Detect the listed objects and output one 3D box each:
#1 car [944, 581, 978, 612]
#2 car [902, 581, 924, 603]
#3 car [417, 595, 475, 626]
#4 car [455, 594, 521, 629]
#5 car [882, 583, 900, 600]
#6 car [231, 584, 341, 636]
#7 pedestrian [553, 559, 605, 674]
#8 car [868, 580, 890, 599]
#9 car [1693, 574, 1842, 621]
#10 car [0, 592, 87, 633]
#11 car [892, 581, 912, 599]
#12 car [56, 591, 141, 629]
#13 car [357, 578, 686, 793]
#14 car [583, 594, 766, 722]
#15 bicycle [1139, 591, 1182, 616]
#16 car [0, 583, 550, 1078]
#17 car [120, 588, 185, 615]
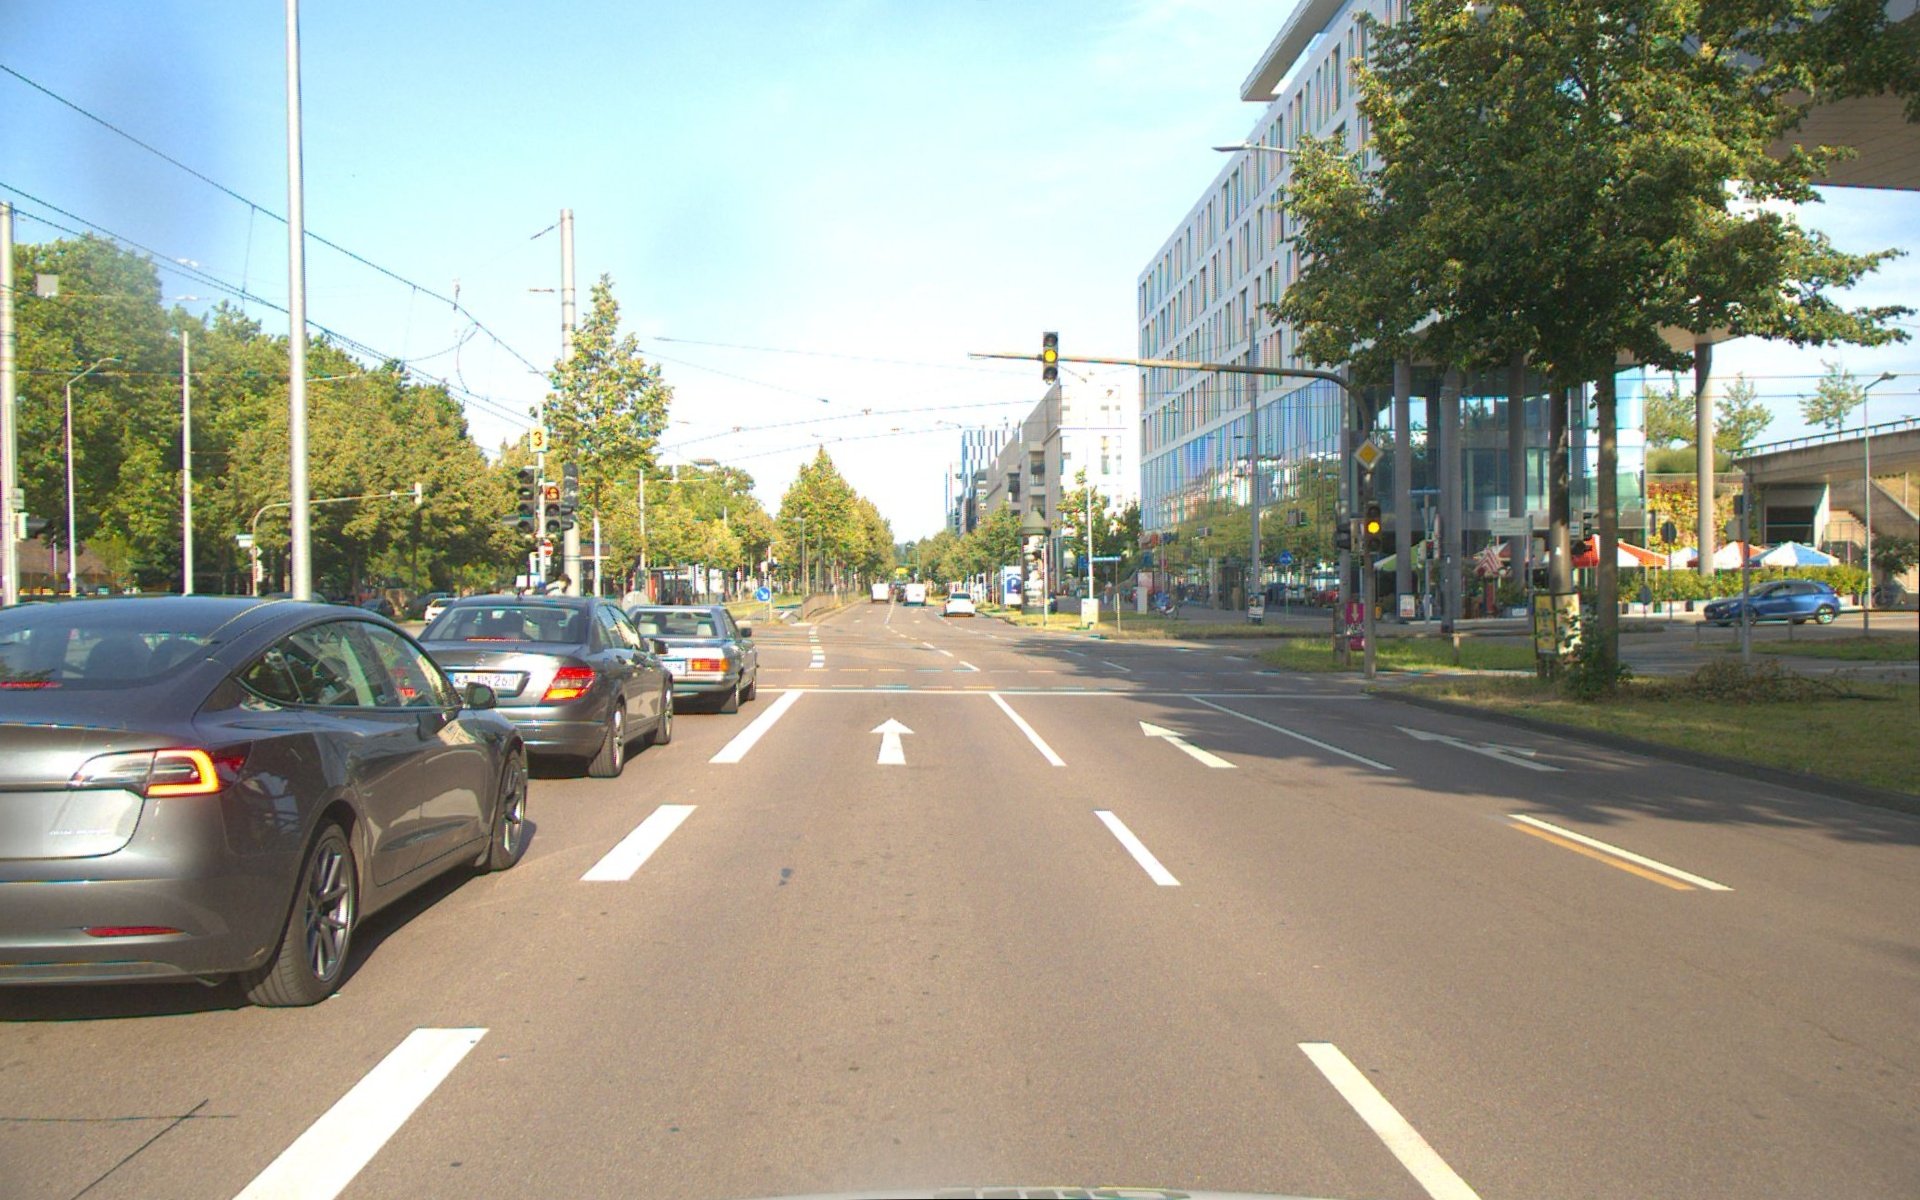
[{"bbox_3d":[0.031,-0.232,96.071,1.826,1.713,3.999,1,1,-2],"label":"car"},{"bbox_3d":[-3.983,-0.689,140.275,1.826,1.713,3.999,1,1,-2],"label":"car"},{"bbox_3d":[-27.837,0.527,89.723,1.839,1.554,4.223,-1,1,0],"label":"car"},{"bbox_3d":[-21.443,0.522,75.311,1.953,1.530,4.091,-2,0,-2],"label":"car"},{"bbox_3d":[-7.581,-0.932,181.590,1.886,1.713,3.998,1,1,-3],"label":"car"},{"bbox_3d":[-24.251,0.322,59.745,1.953,1.714,4.995,-1,1,-1],"label":"car"},{"bbox_3d":[-6.123,0.255,26.610,0.685,1.823,0.635,1,0,-2],"label":"pedestrian"},{"bbox_3d":[-7.693,-1.004,157.601,1.974,1.713,3.999,1,1,-2],"label":"car"},{"bbox_3d":[26.931,-0.093,55.221,4.101,1.448,1.858,-1,1,-3],"label":"car"},{"bbox_3d":[-42.175,0.540,75.962,1.842,1.780,4.002,-1,0,3],"label":"car"},{"bbox_3d":[-5.859,-1.053,167.201,1.885,1.713,3.999,1,1,-2],"label":"car"},{"bbox_3d":[-41.998,0.460,80.730,1.842,1.780,4.002,-1,0,3],"label":"car"},{"bbox_3d":[-3.542,0.596,14.176,1.750,1.504,4.352,1,1,-2],"label":"car"},{"bbox_3d":[-3.467,0.648,20.809,1.728,1.353,4.398,1,1,-3],"label":"car"},{"bbox_3d":[9.173,0.173,75.677,1.847,1.050,0.768,3,3,45],"label":"bicycle"},{"bbox_3d":[-3.128,0.671,7.063,1.852,1.410,4.332,1,1,-3],"label":"car"},{"bbox_3d":[-49.415,0.083,101.242,1.842,1.586,4.002,-1,0,3],"label":"car"}]
